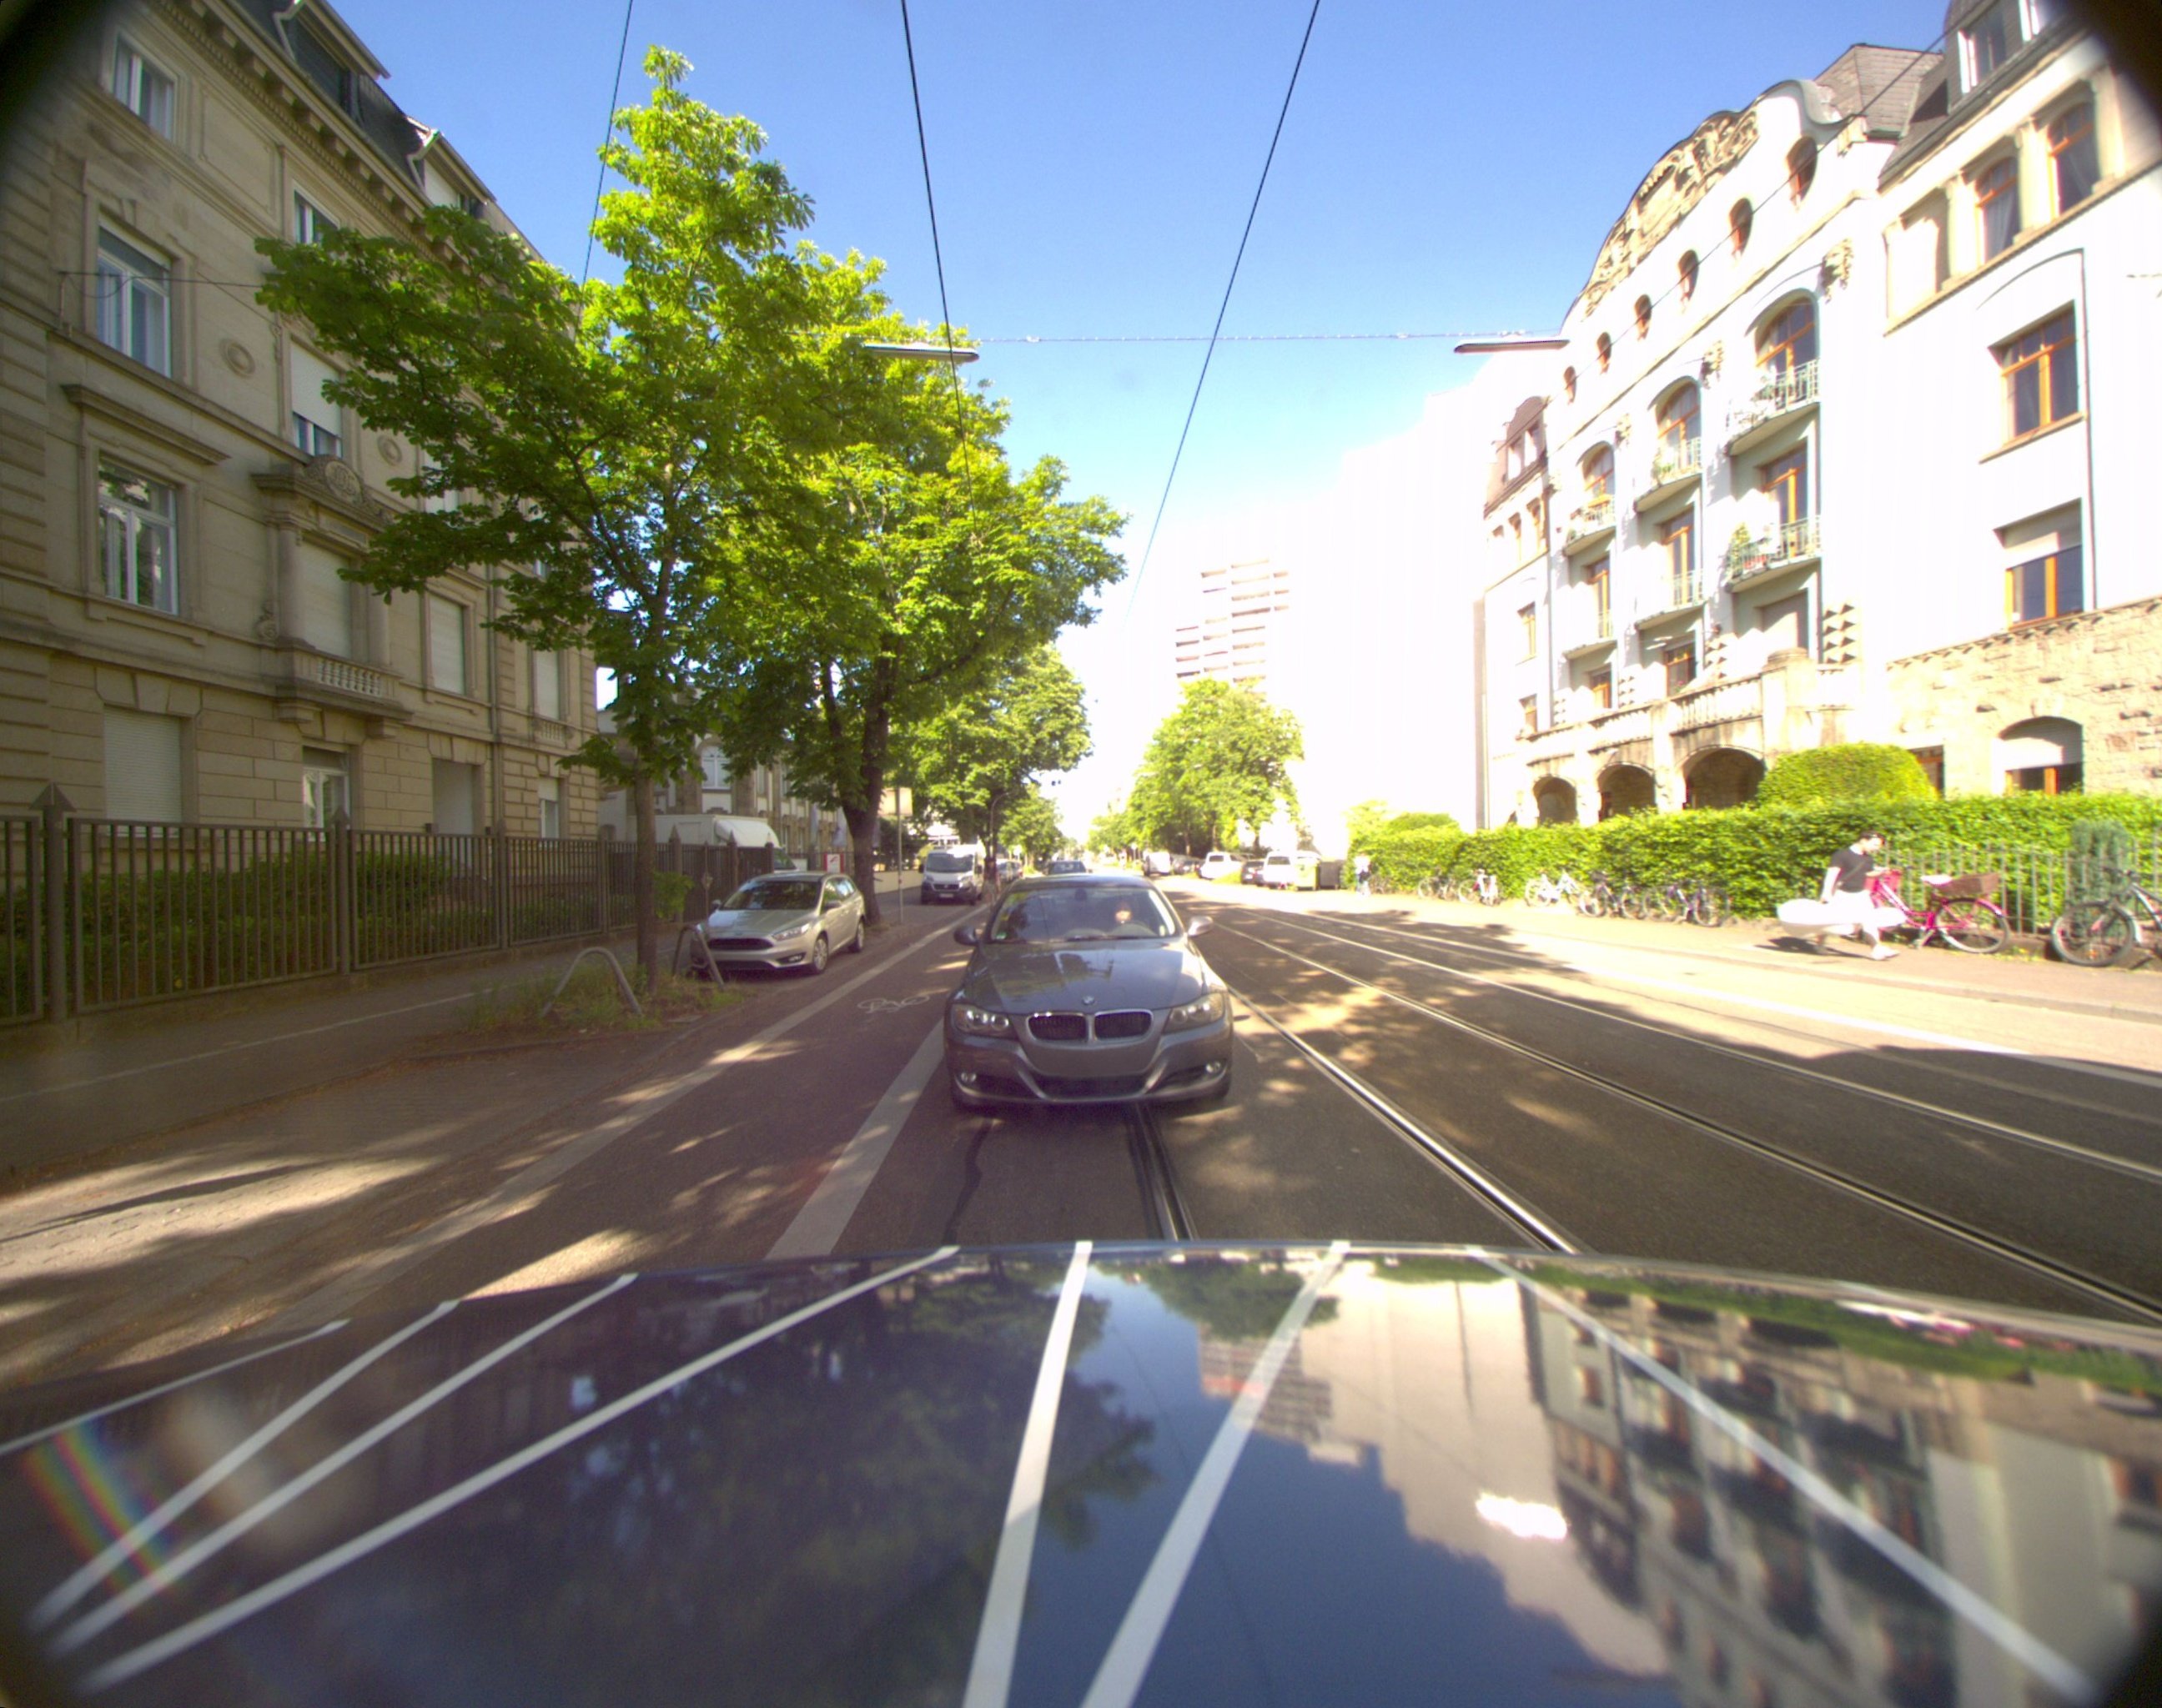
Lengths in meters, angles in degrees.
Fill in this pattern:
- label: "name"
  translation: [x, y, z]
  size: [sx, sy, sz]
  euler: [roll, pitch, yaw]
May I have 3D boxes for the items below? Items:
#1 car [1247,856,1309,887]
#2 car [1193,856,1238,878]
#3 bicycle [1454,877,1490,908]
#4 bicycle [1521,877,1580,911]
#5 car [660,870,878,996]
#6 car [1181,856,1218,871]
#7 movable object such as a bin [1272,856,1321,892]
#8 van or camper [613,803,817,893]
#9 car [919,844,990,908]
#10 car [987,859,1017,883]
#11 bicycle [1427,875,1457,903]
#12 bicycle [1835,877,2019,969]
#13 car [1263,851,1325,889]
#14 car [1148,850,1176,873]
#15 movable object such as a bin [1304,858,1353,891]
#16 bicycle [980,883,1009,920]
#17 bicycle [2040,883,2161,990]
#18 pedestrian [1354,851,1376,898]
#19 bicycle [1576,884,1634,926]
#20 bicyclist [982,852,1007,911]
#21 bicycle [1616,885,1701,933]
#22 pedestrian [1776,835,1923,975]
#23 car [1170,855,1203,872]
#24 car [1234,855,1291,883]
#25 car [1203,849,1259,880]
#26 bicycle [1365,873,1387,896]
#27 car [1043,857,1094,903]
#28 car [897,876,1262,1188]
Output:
- label: "car"
  translation: [10.267, 0.890, 39.642]
  size: [2.757, 1.427, 1.458]
  euler: [-2, 1, -16]
- label: "car"
  translation: [9.473, 0.906, 53.528]
  size: [2.757, 1.427, 1.458]
  euler: [-2, 1, -16]
- label: "bicycle"
  translation: [10.740, 1.055, 20.895]
  size: [0.318, 0.757, 1.263]
  euler: [-2, 1, 1]
- label: "bicycle"
  translation: [11.789, 1.000, 19.087]
  size: [1.262, 0.789, 0.297]
  euler: [-2, 1, 1]
- label: "car"
  translation: [-4.710, 1.092, 12.254]
  size: [1.877, 1.534, 4.364]
  euler: [0, 1, -3]
- label: "car"
  translation: [9.766, 0.800, 62.681]
  size: [2.757, 1.083, 1.226]
  euler: [-2, 1, -16]
- label: "movable object such as a bin"
  translation: [9.401, 0.845, 33.225]
  size: [1.512, 1.424, 2.096]
  euler: [-2, 1, 1]
- label: "van or camper"
  translation: [-12.166, -0.136, 25.172]
  size: [6.721, 2.612, 2.126]
  euler: [-2, 1, 24]
- label: "car"
  translation: [-4.979, 0.773, 30.765]
  size: [2.132, 2.329, 5.803]
  euler: [0, 1, -3]
- label: "car"
  translation: [-5.535, 1.186, 53.745]
  size: [1.866, 1.541, 4.101]
  euler: [-2, 1, -3]
- label: "bicycle"
  translation: [10.762, 1.034, 22.686]
  size: [0.297, 0.757, 1.263]
  euler: [-2, 1, 1]
- label: "bicycle"
  translation: [11.009, 0.853, 9.982]
  size: [0.405, 1.018, 1.816]
  euler: [-2, 1, 1]
- label: "car"
  translation: [10.296, 0.771, 36.631]
  size: [3.194, 1.763, 1.456]
  euler: [1, -2, -45]
- label: "car"
  translation: [7.059, 0.618, 65.883]
  size: [1.997, 1.893, 4.003]
  euler: [-2, 1, 11]
- label: "movable object such as a bin"
  translation: [11.115, 0.899, 34.194]
  size: [1.501, 1.309, 2.096]
  euler: [-2, 1, 1]
- label: "bicycle"
  translation: [-2.488, 1.355, 21.989]
  size: [0.535, 0.917, 2.057]
  euler: [-2, 1, 1]
- label: "bicycle"
  translation: [11.069, 0.853, 7.705]
  size: [0.405, 1.018, 1.816]
  euler: [-2, 1, 1]
- label: "pedestrian"
  translation: [9.914, 0.703, 26.561]
  size: [0.475, 1.619, 0.659]
  euler: [-2, 1, 1]
- label: "bicycle"
  translation: [10.946, 1.056, 15.916]
  size: [0.339, 0.757, 1.263]
  euler: [-2, 1, 1]
- label: "bicyclist"
  translation: [-2.508, 0.772, 21.993]
  size: [0.532, 1.660, 0.878]
  euler: [-2, 1, 1]
- label: "bicycle"
  translation: [10.915, 1.023, 14.411]
  size: [0.405, 0.757, 1.581]
  euler: [-2, 1, 1]
- label: "pedestrian"
  translation: [9.769, 0.618, 9.698]
  size: [0.869, 1.619, 0.870]
  euler: [-6, 1, 1]
- label: "car"
  translation: [9.691, 0.849, 69.808]
  size: [2.757, 1.417, 1.226]
  euler: [-2, 1, -16]
- label: "car"
  translation: [10.263, 0.852, 43.009]
  size: [2.757, 1.427, 1.458]
  euler: [-2, 1, -16]
- label: "car"
  translation: [9.899, 0.679, 50.099]
  size: [3.450, 1.860, 1.918]
  euler: [-3, 1, -44]
- label: "bicycle"
  translation: [10.631, 1.097, 27.439]
  size: [0.297, 0.757, 1.263]
  euler: [-2, 1, 1]
- label: "car"
  translation: [-0.426, 0.974, 30.102]
  size: [1.828, 1.559, 3.999]
  euler: [-2, 1, 1]
- label: "car"
  translation: [0.019, 0.999, 6.003]
  size: [1.869, 1.426, 3.999]
  euler: [-2, 1, 1]
